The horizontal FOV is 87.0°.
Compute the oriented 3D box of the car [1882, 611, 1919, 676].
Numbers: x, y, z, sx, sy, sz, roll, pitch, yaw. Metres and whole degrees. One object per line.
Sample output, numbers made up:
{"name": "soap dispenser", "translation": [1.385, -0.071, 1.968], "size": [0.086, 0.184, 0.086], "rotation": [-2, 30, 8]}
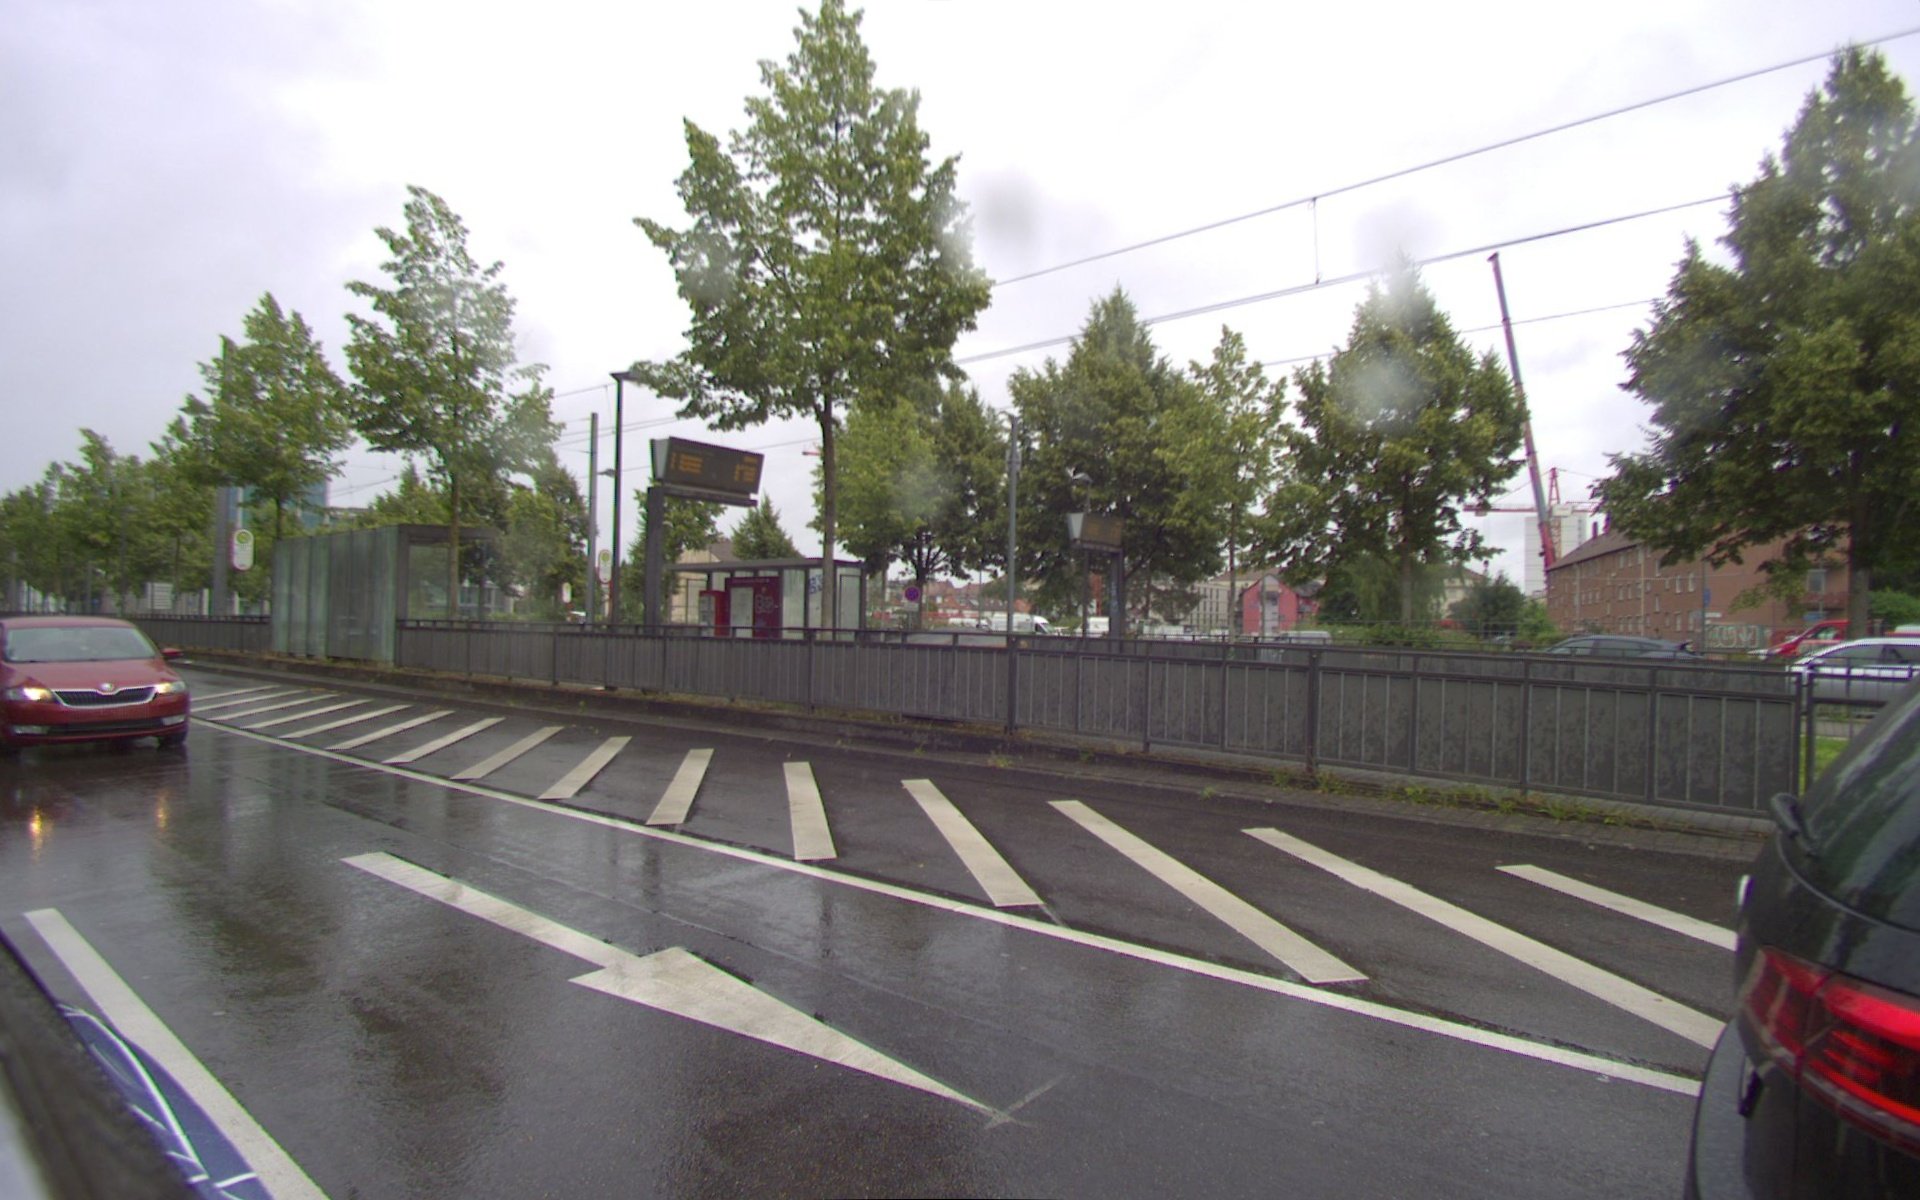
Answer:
{"name": "car", "translation": [46.024, 1.984, 45.510], "size": [2.319, 2.961, 6.441], "rotation": [-1, 0, -38]}

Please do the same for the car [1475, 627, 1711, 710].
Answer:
{"name": "car", "translation": [13.264, 1.357, 21.310], "size": [3.997, 1.497, 1.806], "rotation": [-1, 0, 41]}

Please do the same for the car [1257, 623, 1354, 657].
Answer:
{"name": "car", "translation": [26.610, 3.026, 78.019], "size": [6.804, 2.495, 2.335], "rotation": [0, -2, 28]}

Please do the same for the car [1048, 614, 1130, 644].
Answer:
{"name": "car", "translation": [11.351, 2.554, 89.421], "size": [6.826, 2.495, 2.470], "rotation": [-1, 0, 38]}

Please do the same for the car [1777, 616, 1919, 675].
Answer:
{"name": "car", "translation": [34.740, 1.667, 37.614], "size": [2.319, 2.029, 6.441], "rotation": [-1, 0, -38]}

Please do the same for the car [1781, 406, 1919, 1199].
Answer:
{"name": "car", "translation": [3.048, 0.551, 0.269], "size": [4.330, 1.529, 1.764], "rotation": [-1, 0, 42]}

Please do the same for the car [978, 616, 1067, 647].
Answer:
{"name": "car", "translation": [5.257, 2.634, 85.985], "size": [7.627, 2.495, 2.327], "rotation": [-1, 0, 38]}

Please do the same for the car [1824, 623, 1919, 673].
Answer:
{"name": "car", "translation": [40.148, 1.981, 41.815], "size": [2.319, 2.029, 6.440], "rotation": [2, -3, -38]}

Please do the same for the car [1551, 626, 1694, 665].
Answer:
{"name": "car", "translation": [36.944, 2.477, 56.680], "size": [6.393, 2.029, 2.336], "rotation": [-1, 0, 26]}

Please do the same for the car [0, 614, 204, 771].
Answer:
{"name": "car", "translation": [-10.341, 0.914, 11.652], "size": [4.313, 1.470, 1.765], "rotation": [-1, 0, 41]}

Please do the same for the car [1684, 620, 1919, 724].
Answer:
{"name": "car", "translation": [14.446, 1.100, 16.201], "size": [4.618, 1.497, 1.809], "rotation": [-1, 0, 37]}
